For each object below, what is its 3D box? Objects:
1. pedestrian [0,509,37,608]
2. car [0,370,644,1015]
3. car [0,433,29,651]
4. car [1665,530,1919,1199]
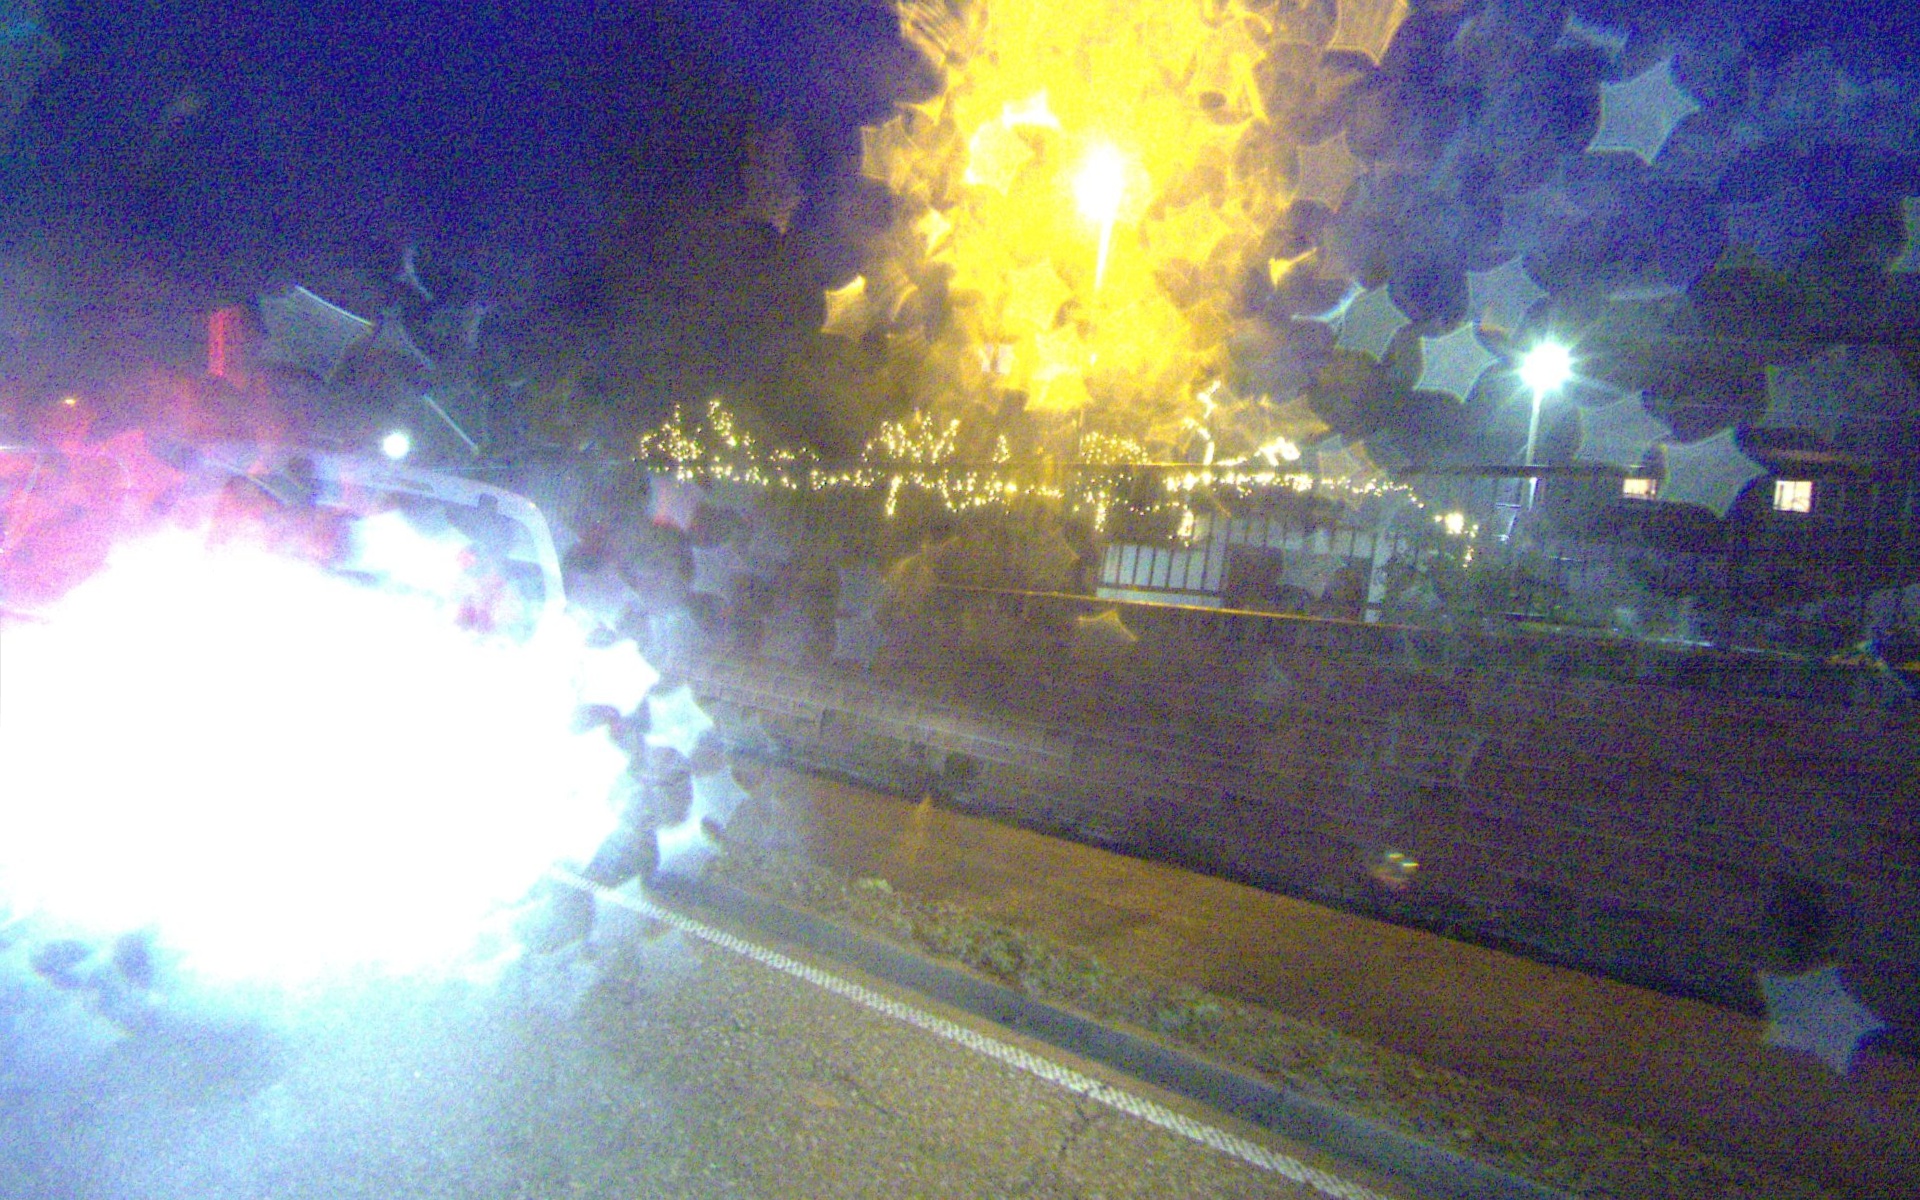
[{"bbox_3d":[-17.315,-0.773,18.187,0.532,1.721,0.624,7,-1,29],"label":"pedestrian"},{"bbox_3d":[-3.811,0.167,4.843,4.269,1.886,1.855,6,-2,32],"label":"car"},{"bbox_3d":[-11.100,-0.778,9.702,3.934,2.070,1.972,6,-2,32],"label":"car"},{"bbox_3d":[3.256,1.074,0.254,4.860,1.755,1.838,6,-2,32],"label":"car"}]
